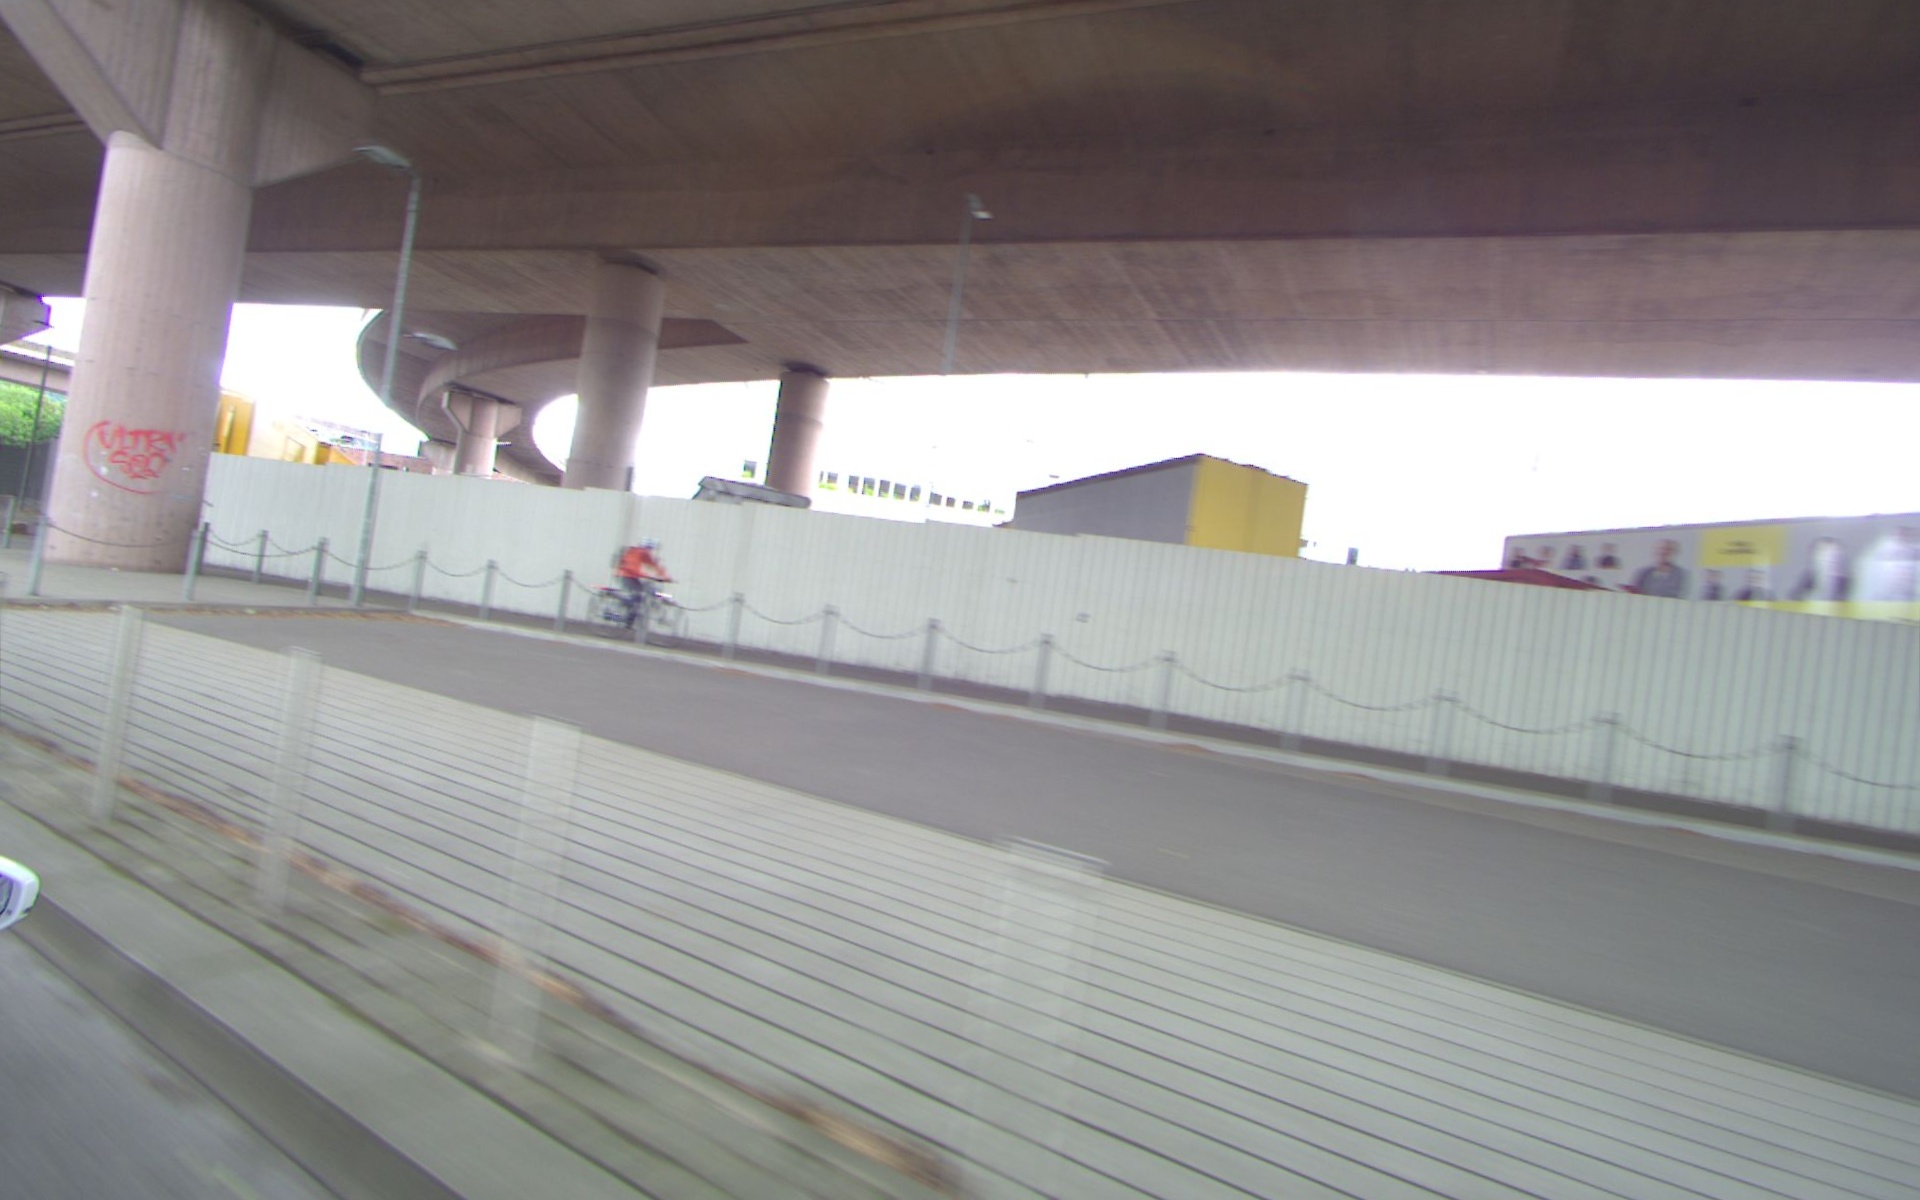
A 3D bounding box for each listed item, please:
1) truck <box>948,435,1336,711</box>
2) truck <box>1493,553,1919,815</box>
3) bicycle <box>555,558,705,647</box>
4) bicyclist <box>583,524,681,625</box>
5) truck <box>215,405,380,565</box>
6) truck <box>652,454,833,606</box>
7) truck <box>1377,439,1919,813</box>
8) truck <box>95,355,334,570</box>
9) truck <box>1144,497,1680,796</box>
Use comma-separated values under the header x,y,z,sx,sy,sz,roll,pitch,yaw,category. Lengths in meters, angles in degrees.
x,y,z,sx,sy,sz,roll,pitch,yaw,category
3.299,-0.603,22.270,3.108,4.497,9.669,7,0,-24,truck
15.723,1.407,19.143,2.778,4.209,9.873,8,0,-23,truck
-5.204,0.043,15.885,2.091,1.111,0.804,8,1,20,bicycle
-5.175,-0.393,15.890,1.047,1.423,0.798,8,1,20,bicyclist
-25.368,-4.097,39.094,3.107,4.960,8.674,9,-1,-22,truck
-5.980,-1.751,26.213,3.103,2.982,8.670,6,2,-21,truck
12.572,0.333,17.740,3.108,4.983,9.669,8,0,-24,truck
-21.776,-3.624,30.115,3.107,4.974,8.674,9,-1,-22,truck
7.818,0.577,19.837,2.860,4.234,10.012,7,0,-22,truck
